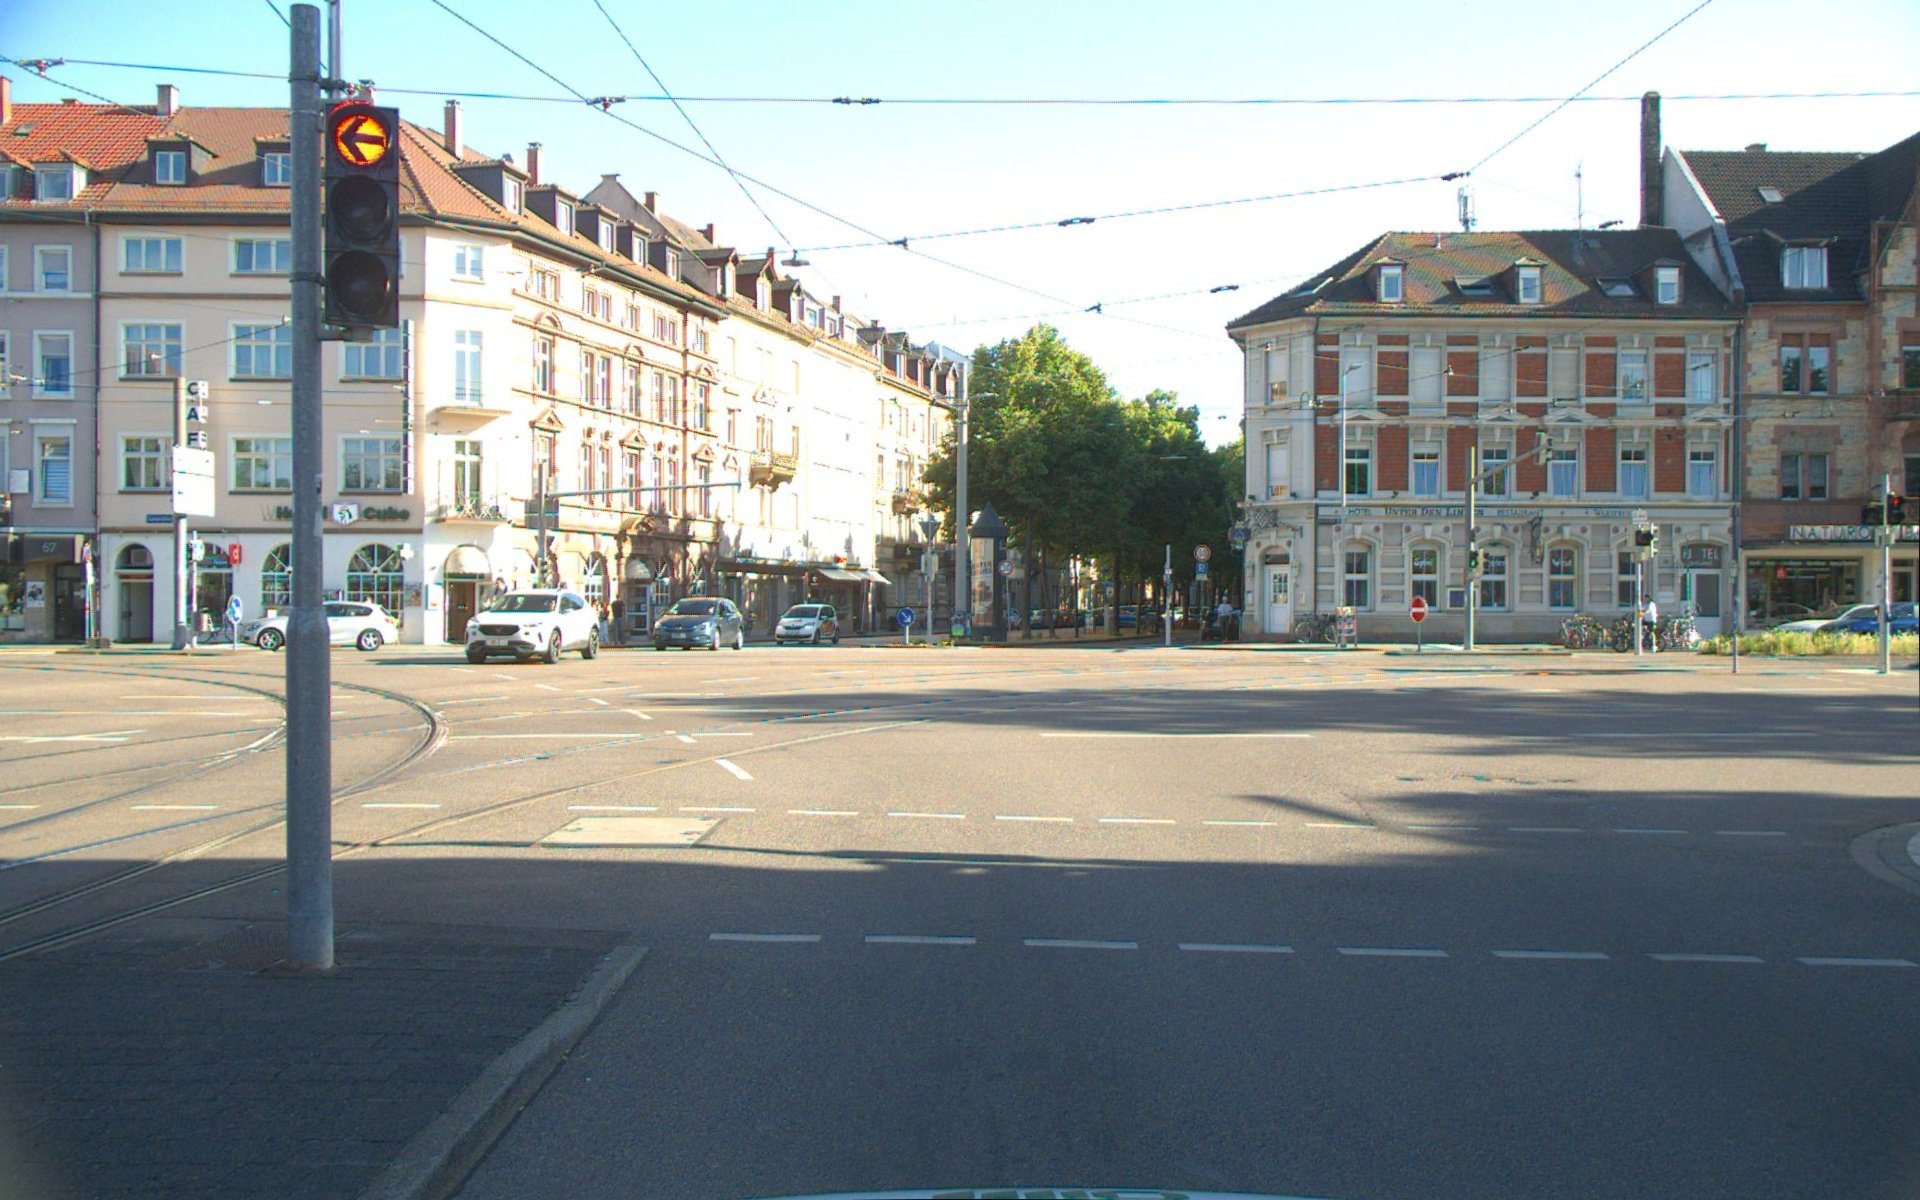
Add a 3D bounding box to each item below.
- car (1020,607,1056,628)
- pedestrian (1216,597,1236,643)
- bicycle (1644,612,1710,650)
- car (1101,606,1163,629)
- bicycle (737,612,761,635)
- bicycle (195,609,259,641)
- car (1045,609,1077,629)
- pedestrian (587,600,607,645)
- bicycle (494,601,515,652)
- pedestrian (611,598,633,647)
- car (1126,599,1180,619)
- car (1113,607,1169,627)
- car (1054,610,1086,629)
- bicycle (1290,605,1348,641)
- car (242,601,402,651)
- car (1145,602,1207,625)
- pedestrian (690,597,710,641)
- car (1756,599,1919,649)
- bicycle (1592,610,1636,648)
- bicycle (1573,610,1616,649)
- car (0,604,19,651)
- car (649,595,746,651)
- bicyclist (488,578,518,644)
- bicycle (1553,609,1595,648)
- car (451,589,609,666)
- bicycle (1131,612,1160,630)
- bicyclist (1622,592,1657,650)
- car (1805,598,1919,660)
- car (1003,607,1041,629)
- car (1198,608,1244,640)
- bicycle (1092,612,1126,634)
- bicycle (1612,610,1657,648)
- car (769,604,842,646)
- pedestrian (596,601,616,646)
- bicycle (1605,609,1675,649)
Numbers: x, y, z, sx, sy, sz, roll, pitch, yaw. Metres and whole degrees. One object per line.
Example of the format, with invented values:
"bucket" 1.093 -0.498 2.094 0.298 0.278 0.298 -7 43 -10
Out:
"car" 5.791 1.305 122.675 1.951 1.523 4.037 0 0 13
"pedestrian" 10.019 0.743 62.190 0.700 1.698 0.940 0 0 11
"bicycle" 23.041 0.995 53.131 1.926 1.211 0.677 0 0 -13
"car" 12.029 1.204 115.840 3.910 1.572 1.998 0 0 28
"bicycle" -10.135 1.125 79.391 0.484 1.086 1.771 0 0 15
"bicycle" -24.909 0.853 56.232 1.906 1.086 0.582 0 0 -8
"car" 8.072 1.490 131.895 1.951 1.523 4.037 0 0 13
"pedestrian" -13.672 0.838 62.244 0.539 1.670 0.538 0 0 15
"bicycle" -11.120 0.631 40.359 0.477 1.186 2.047 0 0 -15
"pedestrian" -12.857 0.849 62.931 0.567 1.868 0.633 0 0 15
"car" 15.720 0.750 134.531 3.910 1.572 1.998 0 0 28
"car" 14.065 1.315 128.509 3.910 1.572 1.998 0 0 28
"car" 9.109 1.604 136.656 1.951 1.523 4.037 0 0 13
"bicycle" 12.456 0.795 57.364 1.919 1.211 0.546 0 0 4
"car" -18.492 0.722 47.961 4.160 1.379 1.982 0 0 -28
"car" 15.228 0.944 116.742 3.913 1.572 1.996 0 0 30
"pedestrian" -11.325 0.821 72.021 0.667 1.942 0.633 0 0 15
"car" 25.964 0.697 48.957 3.906 1.437 1.845 0 0 -2
"bicycle" 21.157 0.930 53.508 0.663 1.211 1.967 0 0 0
"bicycle" 20.518 0.948 53.497 0.663 1.211 1.967 0 0 0
"car" -32.481 0.871 52.156 4.547 1.465 1.743 0 -1 -4
"car" -7.393 0.617 46.996 1.736 1.523 4.576 0 0 4
"bicyclist" -11.152 0.260 40.338 0.703 1.587 0.982 0 0 -17
"bicycle" 19.830 0.920 53.461 0.663 1.211 1.967 0 0 0
"car" -8.973 0.530 34.908 1.952 1.523 4.349 0 0 3
"bicycle" 11.160 1.260 99.411 0.577 1.086 1.924 0 0 -37
"bicyclist" 21.045 0.647 51.253 0.854 1.795 0.602 0 0 2
"car" 25.913 0.787 45.961 3.906 1.697 1.954 0 0 -2
"car" 4.445 1.256 117.419 1.951 1.523 4.037 0 0 13
"car" 13.070 1.156 82.607 1.951 1.523 4.037 0 0 13
"bicycle" 7.464 1.153 82.864 0.577 1.086 1.924 0 0 -37
"bicycle" 21.819 0.926 53.510 0.663 1.211 1.967 0 0 0
"car" -5.839 0.925 62.919 1.681 1.523 3.586 0 0 13
"pedestrian" -13.481 0.890 62.938 0.539 1.670 0.633 0 0 12
"bicycle" 21.059 0.896 51.249 1.920 1.211 0.602 0 0 2
